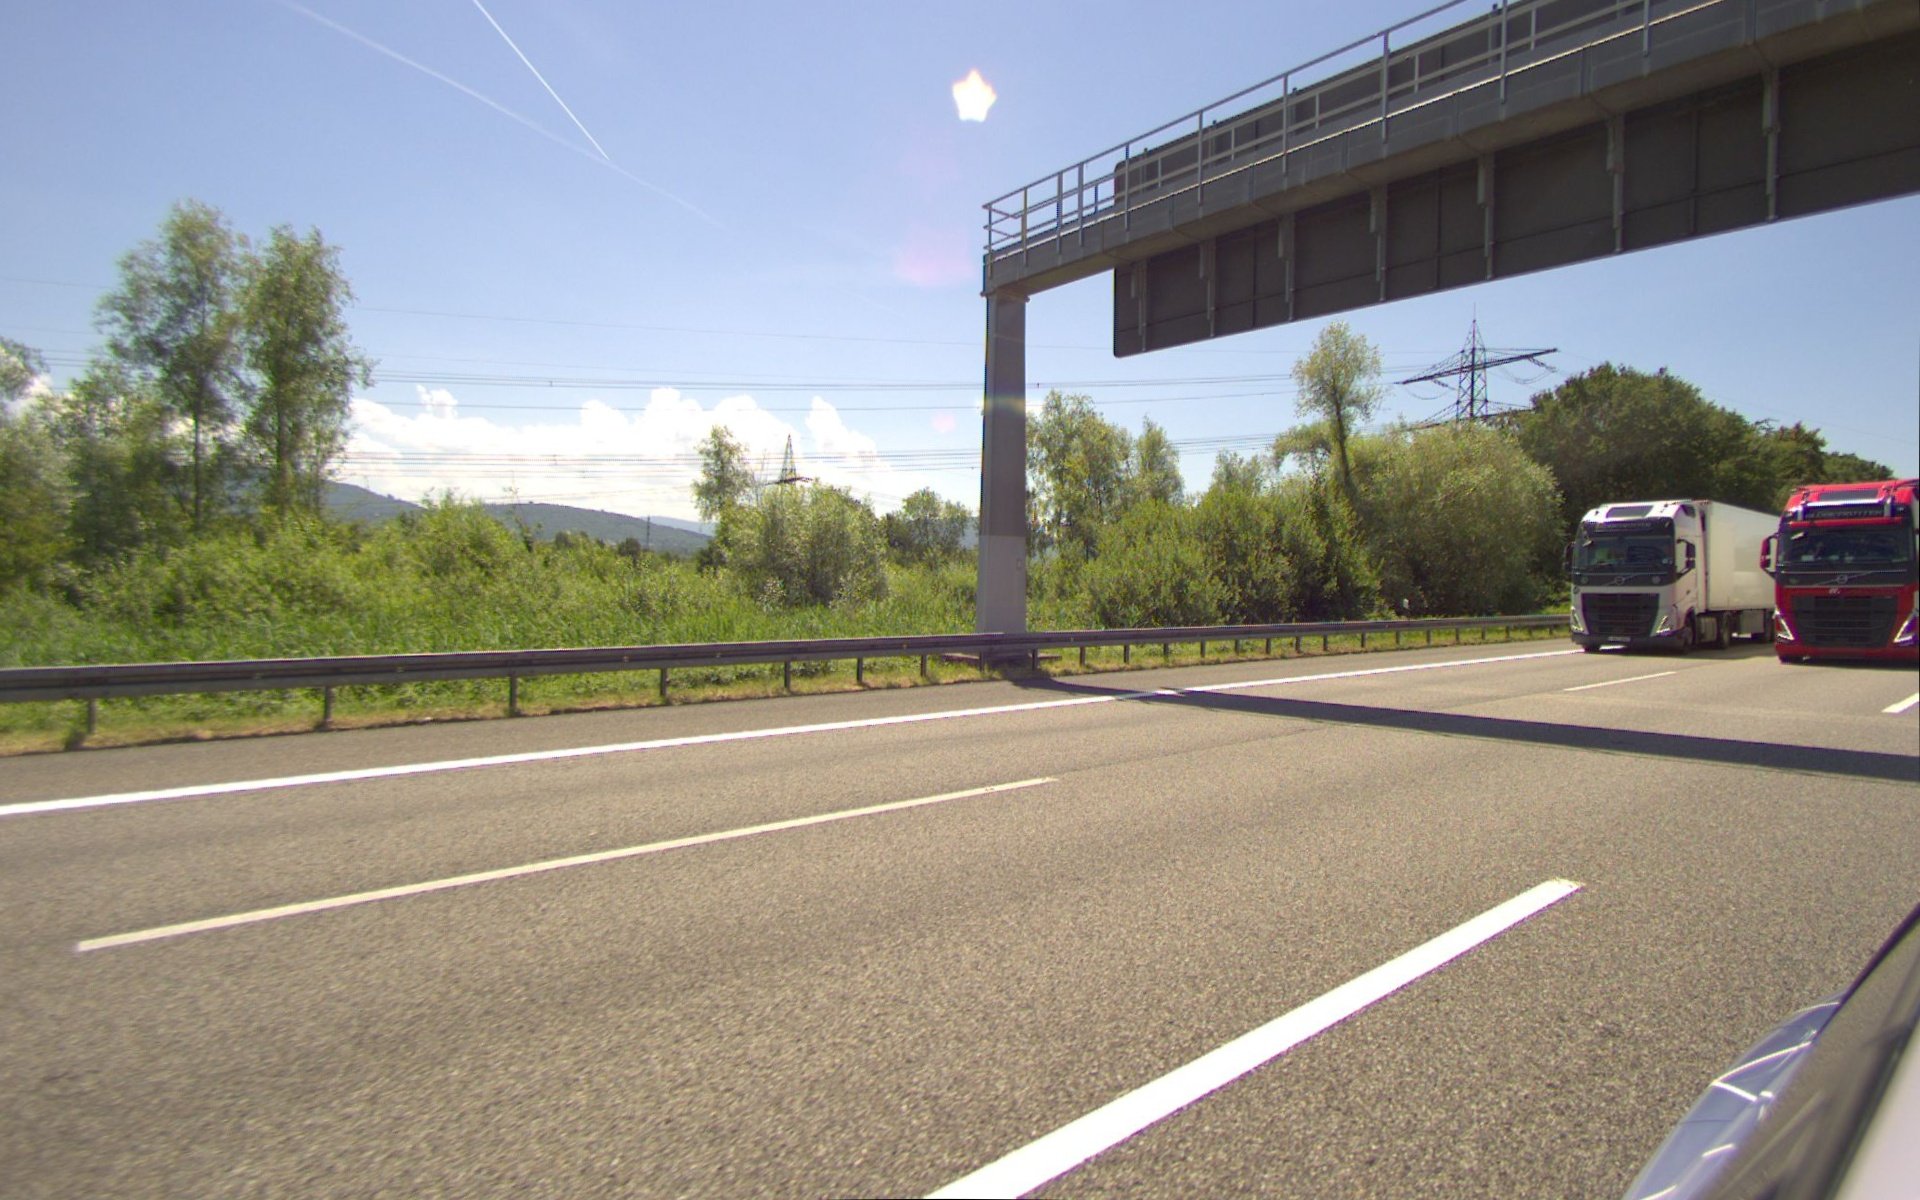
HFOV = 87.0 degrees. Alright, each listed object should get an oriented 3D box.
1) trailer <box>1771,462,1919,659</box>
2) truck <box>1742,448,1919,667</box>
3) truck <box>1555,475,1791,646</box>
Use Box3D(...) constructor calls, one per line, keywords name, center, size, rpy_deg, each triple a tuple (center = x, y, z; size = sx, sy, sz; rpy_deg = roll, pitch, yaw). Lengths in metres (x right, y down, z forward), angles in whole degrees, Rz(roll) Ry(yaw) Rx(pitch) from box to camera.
Box3D(name="trailer", center=(25.125, -0.901, 26.963), size=(15.922, 4.068, 2.942), rpy_deg=(-1, 0, -42))
Box3D(name="truck", center=(19.211, -0.819, 21.604), size=(5.996, 4.036, 2.945), rpy_deg=(-1, 0, -42))
Box3D(name="truck", center=(20.844, -1.009, 29.208), size=(10.785, 4.144, 3.031), rpy_deg=(-1, 0, -41))
